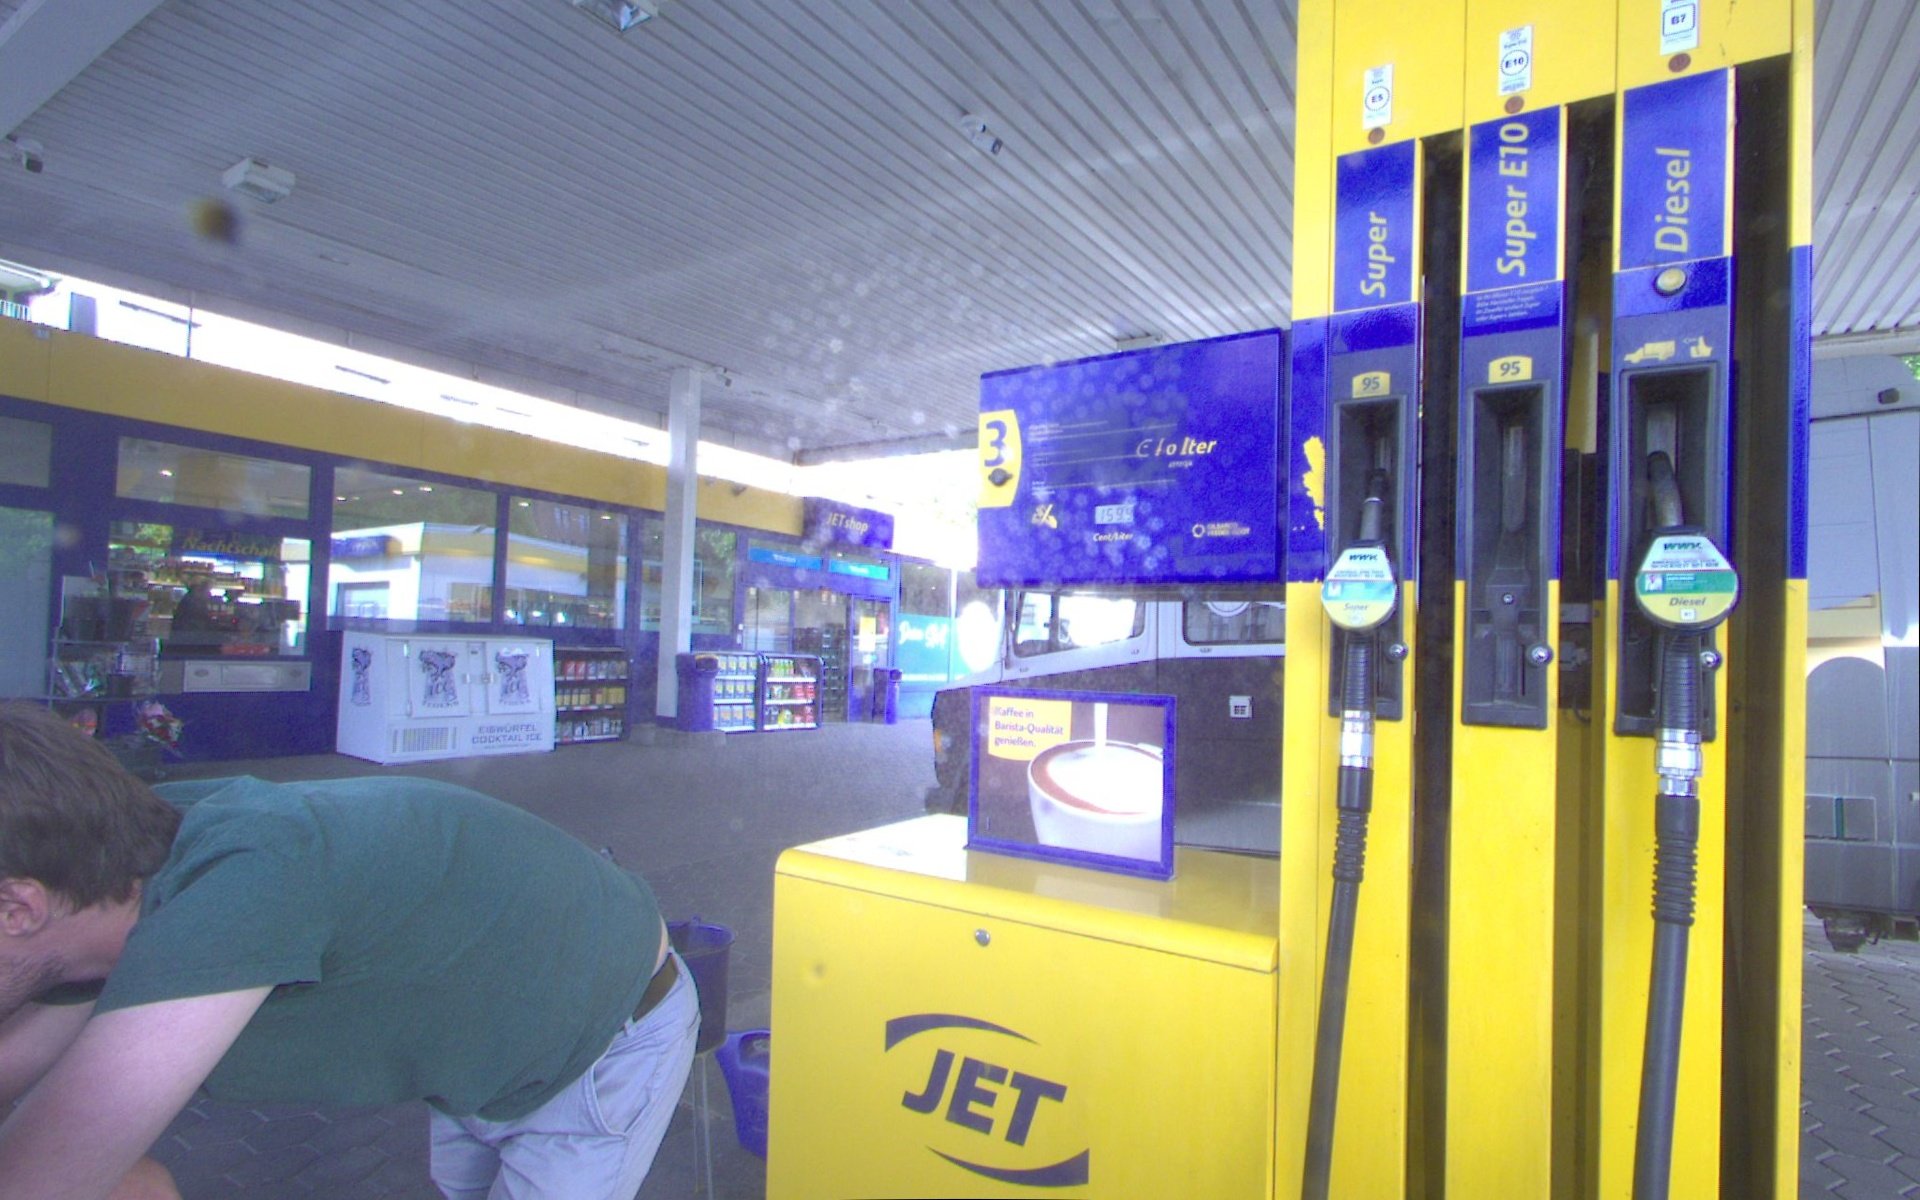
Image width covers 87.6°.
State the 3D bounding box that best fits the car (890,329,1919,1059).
[{"bbox_3d":[2.341,0.432,6.009,5.271,2.759,2.193,-1,-3,34],"label":"car"}]

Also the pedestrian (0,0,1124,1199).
[{"bbox_3d":[-0.530,0.575,1.091,0.981,1.750,1.175,-2,-2,36],"label":"pedestrian"}]
